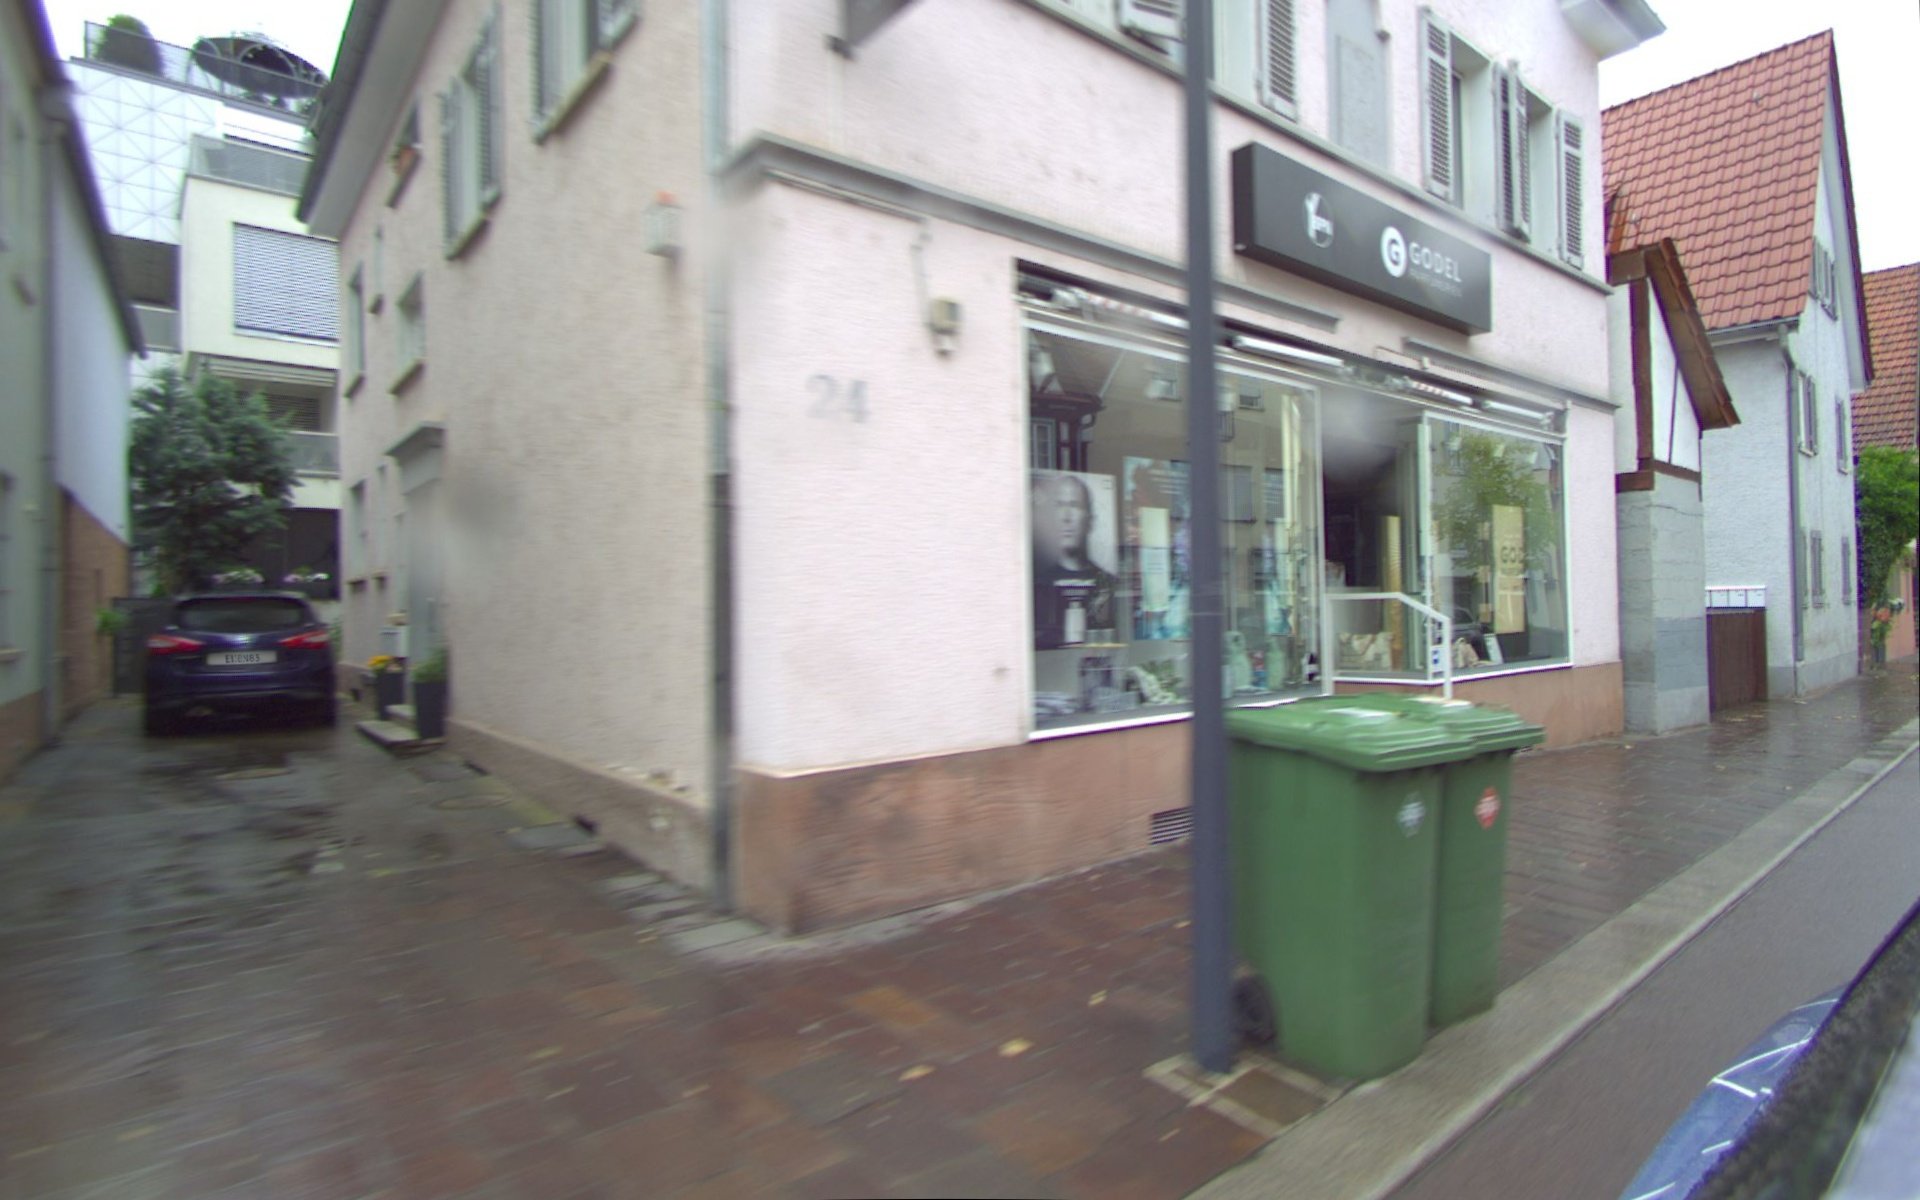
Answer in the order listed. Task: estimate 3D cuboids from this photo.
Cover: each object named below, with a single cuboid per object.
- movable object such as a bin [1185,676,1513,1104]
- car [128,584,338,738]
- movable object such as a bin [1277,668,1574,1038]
[{"bbox_3d":[1.239,0.831,3.265,0.573,1.094,0.796,-1,0,-43],"label":"movable object such as a bin"},{"bbox_3d":[-8.569,0.598,12.105,1.759,1.514,4.000,0,0,-34],"label":"car"},{"bbox_3d":[1.683,0.827,3.684,0.605,1.094,0.793,-1,0,-43],"label":"movable object such as a bin"}]
